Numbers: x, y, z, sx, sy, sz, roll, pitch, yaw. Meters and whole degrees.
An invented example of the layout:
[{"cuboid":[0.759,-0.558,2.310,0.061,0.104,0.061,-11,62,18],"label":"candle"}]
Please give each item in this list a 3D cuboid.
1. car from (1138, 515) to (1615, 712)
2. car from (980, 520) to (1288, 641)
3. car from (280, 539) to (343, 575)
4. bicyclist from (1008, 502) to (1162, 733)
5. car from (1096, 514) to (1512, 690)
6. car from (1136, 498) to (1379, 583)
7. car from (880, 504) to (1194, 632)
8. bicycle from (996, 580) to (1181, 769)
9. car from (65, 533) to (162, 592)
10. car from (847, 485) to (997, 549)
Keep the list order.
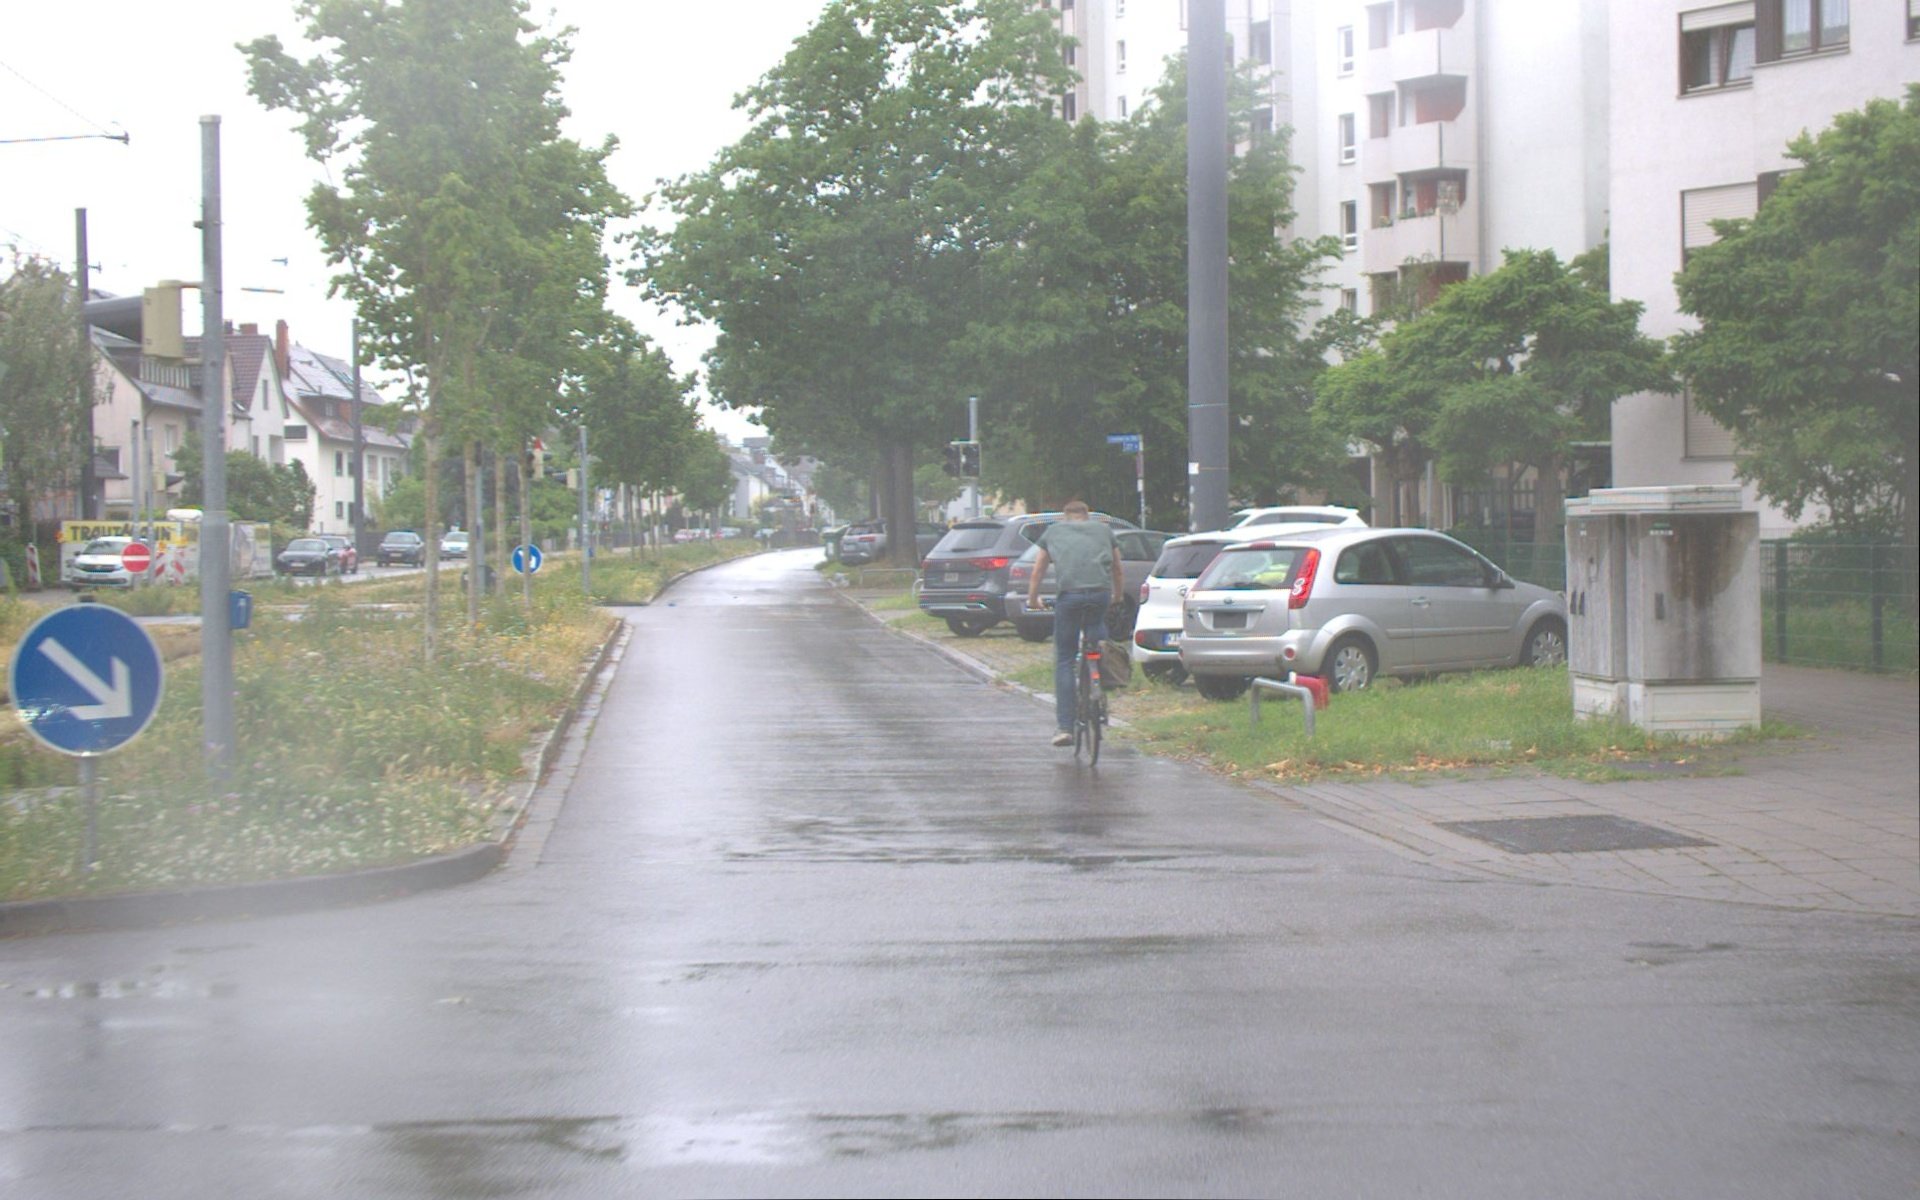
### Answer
[{"cuboid":[3.642,0.102,29.738,3.989,1.503,1.783,-3,0,-40],"label":"car"},{"cuboid":[2.295,-0.281,44.645,3.990,1.424,1.734,-3,2,-45],"label":"car"},{"cuboid":[-23.663,-1.589,125.623,1.663,1.240,4.072,1,1,-2],"label":"car"},{"cuboid":[0.795,0.096,22.133,0.809,1.428,1.060,-2,1,-6],"label":"bicyclist"},{"cuboid":[3.357,0.000,33.095,3.989,1.503,1.704,-3,0,-43],"label":"car"},{"cuboid":[6.408,-1.291,74.211,4.801,1.739,2.001,-1,1,-18],"label":"car"},{"cuboid":[1.112,-0.471,47.915,4.339,1.645,1.857,-3,2,-45],"label":"car"},{"cuboid":[0.798,0.446,22.240,0.809,1.093,2.518,-2,1,-6],"label":"bicycle"},{"cuboid":[-23.578,-1.068,95.930,1.710,1.537,4.422,1,1,-2],"label":"car"},{"cuboid":[-1.154,-2.558,106.042,4.136,1.713,2.000,-5,3,-34],"label":"car"}]
